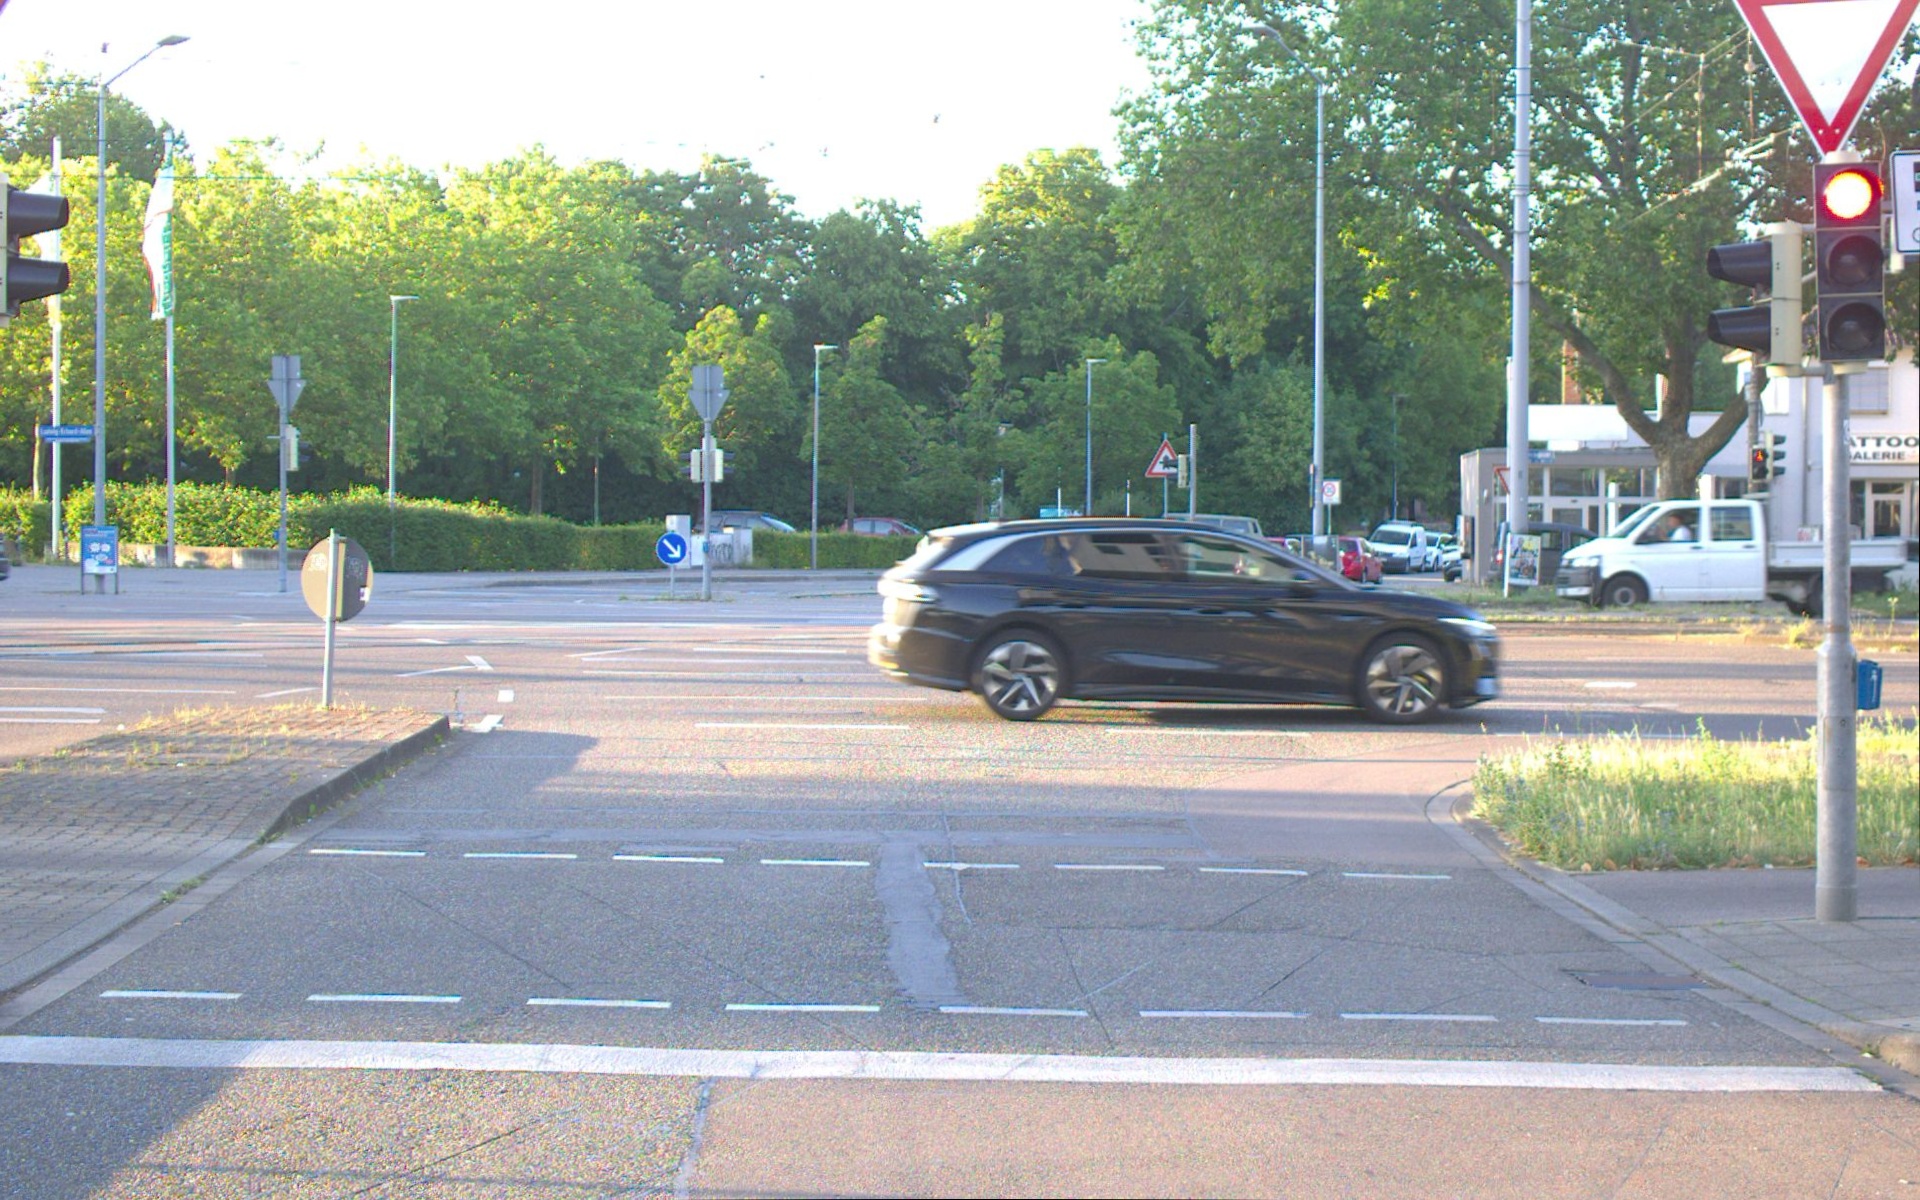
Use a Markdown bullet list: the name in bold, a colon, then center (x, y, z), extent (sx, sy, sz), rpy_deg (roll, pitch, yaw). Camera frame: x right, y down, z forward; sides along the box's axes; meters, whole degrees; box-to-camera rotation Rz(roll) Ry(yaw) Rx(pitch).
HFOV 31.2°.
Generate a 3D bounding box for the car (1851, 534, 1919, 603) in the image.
- **car**: center (20.729, -0.643, 72.233), extent (3.741, 1.435, 1.663), rpy_deg (1, 0, 9)

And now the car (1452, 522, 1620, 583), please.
- **car**: center (14.903, -1.221, 89.159), extent (4.220, 1.547, 1.999), rpy_deg (1, 0, 7)

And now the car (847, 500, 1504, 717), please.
- **car**: center (1.621, 0.046, 27.071), extent (4.906, 1.609, 2.000), rpy_deg (0, 1, -5)

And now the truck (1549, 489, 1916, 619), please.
- **truck**: center (12.672, -0.767, 56.676), extent (5.556, 2.047, 2.068), rpy_deg (1, 1, 0)

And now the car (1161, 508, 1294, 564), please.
- **car**: center (9.772, -2.328, 125.866), extent (4.774, 1.999, 2.000), rpy_deg (0, 0, 2)

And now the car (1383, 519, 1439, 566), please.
- **car**: center (17.870, -2.262, 136.075), extent (1.864, 1.788, 3.998), rpy_deg (1, 0, 12)

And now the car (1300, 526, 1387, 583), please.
- **car**: center (11.547, -1.344, 103.365), extent (1.995, 1.656, 3.997), rpy_deg (1, 0, 15)

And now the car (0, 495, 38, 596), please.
- **car**: center (-17.276, -0.869, 53.665), extent (5.224, 1.547, 2.000), rpy_deg (0, 0, -1)

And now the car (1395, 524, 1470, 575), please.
- **car**: center (15.911, -1.684, 115.590), extent (1.995, 1.656, 3.997), rpy_deg (1, 0, 15)

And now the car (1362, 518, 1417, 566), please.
- **car**: center (16.416, -2.199, 131.181), extent (1.864, 1.788, 3.998), rpy_deg (1, 0, 10)

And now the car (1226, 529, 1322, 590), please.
- **car**: center (8.767, -1.105, 95.678), extent (1.995, 1.656, 3.997), rpy_deg (1, 0, 15)
